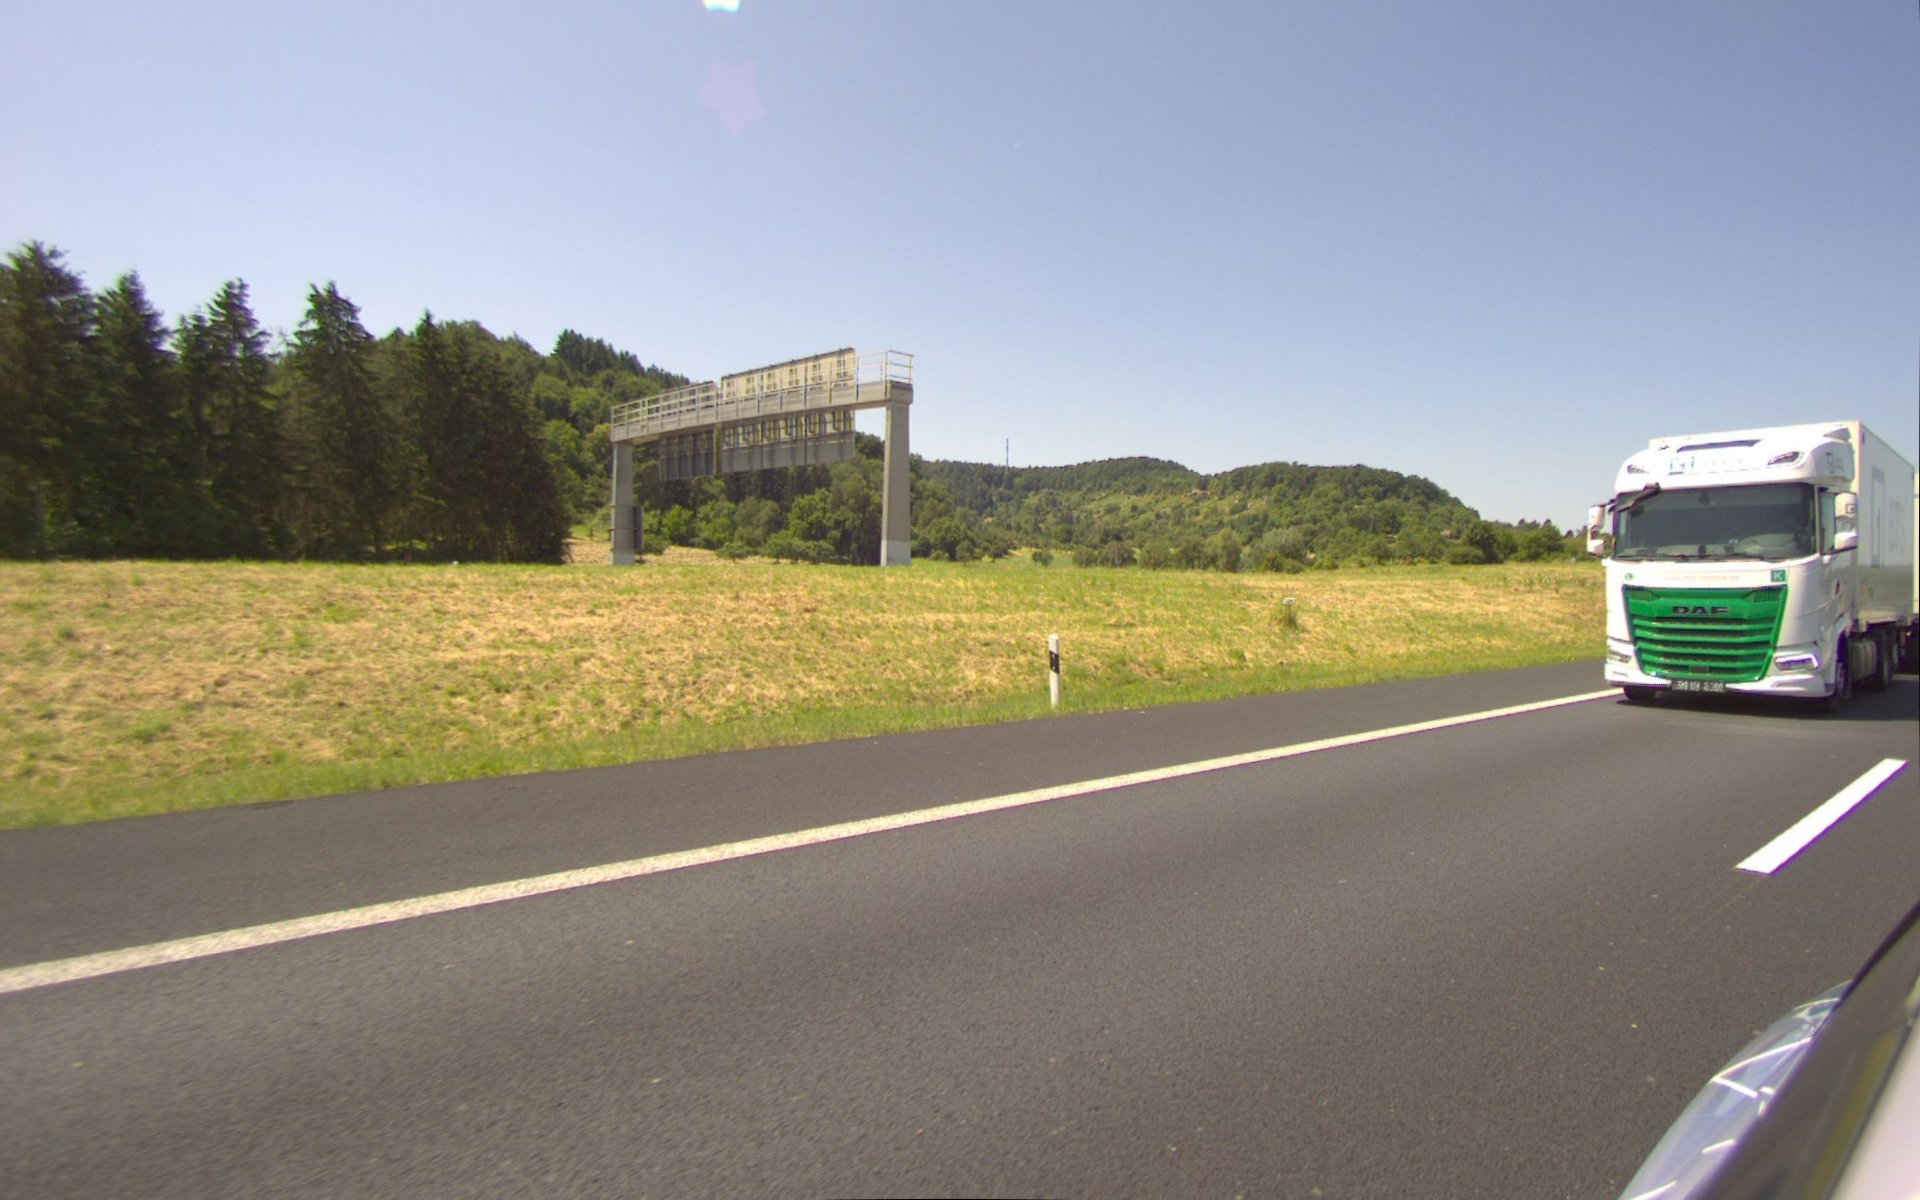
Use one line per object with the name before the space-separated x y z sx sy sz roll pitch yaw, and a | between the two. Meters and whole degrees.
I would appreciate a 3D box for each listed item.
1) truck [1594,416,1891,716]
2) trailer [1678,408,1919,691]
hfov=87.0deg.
truck | 11.430 -0.441 14.693 4.328 3.638 2.646 -1 0 -42
trailer | 18.561 -0.812 21.010 14.636 4.241 2.660 -1 0 -41
